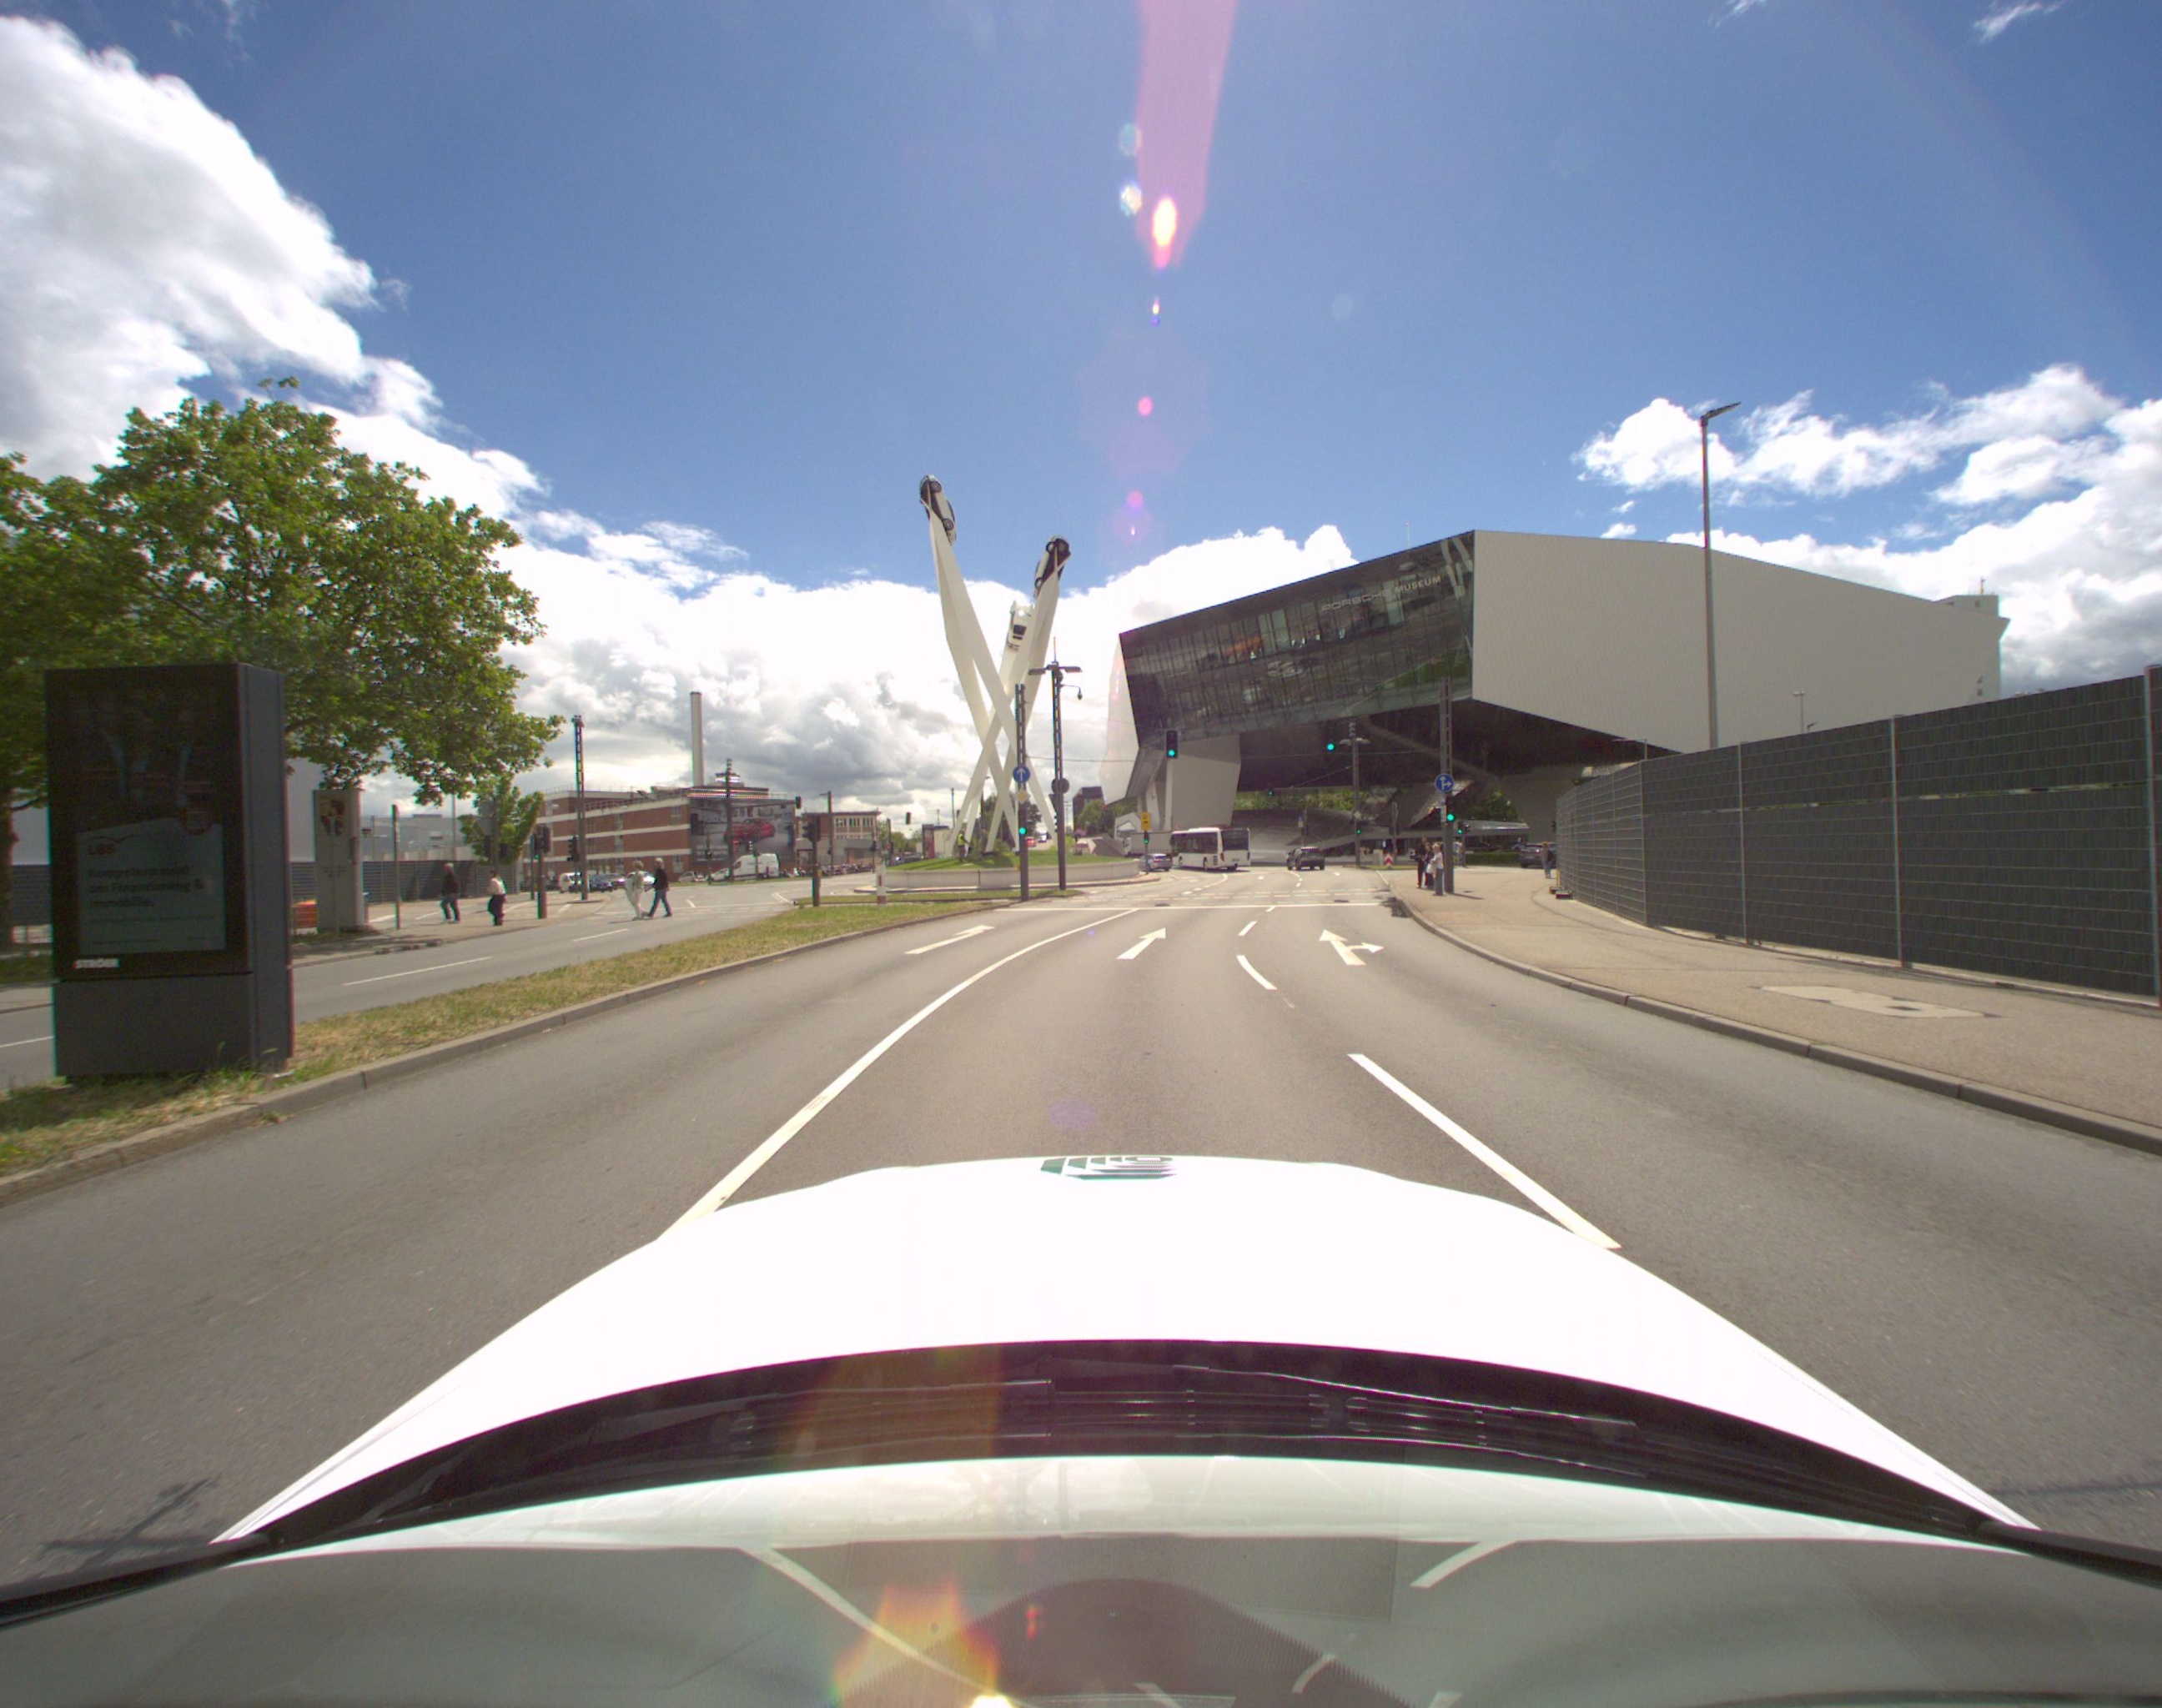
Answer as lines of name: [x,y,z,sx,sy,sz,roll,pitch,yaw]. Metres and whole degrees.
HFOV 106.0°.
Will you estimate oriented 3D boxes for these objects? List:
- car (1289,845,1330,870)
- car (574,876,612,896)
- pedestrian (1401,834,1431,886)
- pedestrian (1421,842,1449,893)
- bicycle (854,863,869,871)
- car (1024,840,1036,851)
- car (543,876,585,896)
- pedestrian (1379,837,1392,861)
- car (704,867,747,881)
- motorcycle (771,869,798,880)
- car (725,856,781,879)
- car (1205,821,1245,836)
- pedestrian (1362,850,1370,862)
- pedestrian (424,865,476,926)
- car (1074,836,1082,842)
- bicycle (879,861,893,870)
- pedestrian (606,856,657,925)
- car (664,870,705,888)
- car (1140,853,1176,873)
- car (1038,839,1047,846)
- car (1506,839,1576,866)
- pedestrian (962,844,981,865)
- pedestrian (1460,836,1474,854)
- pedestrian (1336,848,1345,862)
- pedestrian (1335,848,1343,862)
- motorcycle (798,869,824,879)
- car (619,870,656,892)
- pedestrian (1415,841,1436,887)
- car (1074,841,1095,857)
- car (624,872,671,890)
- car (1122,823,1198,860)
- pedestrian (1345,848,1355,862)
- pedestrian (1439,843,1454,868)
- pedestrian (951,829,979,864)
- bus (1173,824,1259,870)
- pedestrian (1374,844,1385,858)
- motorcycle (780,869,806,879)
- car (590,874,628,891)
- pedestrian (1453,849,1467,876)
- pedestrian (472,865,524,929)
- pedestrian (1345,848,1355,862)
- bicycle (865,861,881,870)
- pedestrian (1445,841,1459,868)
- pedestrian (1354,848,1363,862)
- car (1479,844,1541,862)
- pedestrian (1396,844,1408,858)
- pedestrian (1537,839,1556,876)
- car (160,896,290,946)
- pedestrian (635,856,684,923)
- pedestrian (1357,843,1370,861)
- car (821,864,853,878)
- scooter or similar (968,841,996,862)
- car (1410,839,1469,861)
car: [15.796,0.241,56.543,1.984,1.636,4.005,-2,0,4]
car: [-39.571,2.578,65.972,1.813,1.556,3.909,0,-1,-44]
pedestrian: [12.148,0.210,29.556,0.660,1.866,0.789,0,-1,-15]
pedestrian: [11.311,0.437,26.026,0.655,1.608,0.825,-1,-1,11]
bicycle: [-24.693,1.444,91.548,0.486,0.866,1.621,-1,2,42]
car: [-9.817,-1.688,157.886,1.988,1.983,4.835,-2,1,-1]
car: [-44.136,2.691,69.487,4.237,1.624,2.012,-1,-1,43]
pedestrian: [26.279,-0.430,70.260,0.946,1.984,1.387,-1,1,16]
car: [-38.039,2.125,87.117,3.954,1.501,2.010,-1,-1,20]
motorcycle: [-33.749,2.345,92.731,2.880,1.196,0.924,-1,-1,18]
car: [-31.912,1.311,79.320,4.611,2.171,2.006,-1,-1,10]
car: [17.725,-3.211,100.286,2.012,1.394,4.459,-6,10,-43]
pedestrian: [31.895,0.192,91.122,0.697,1.318,0.637,1,-1,-42]
pedestrian: [-19.014,1.235,24.559,0.864,1.774,1.030,0,-1,-14]
car: [-0.813,-3.867,211.072,1.986,1.635,4.658,0,1,1]
bicycle: [-21.643,1.319,90.430,0.486,0.866,1.621,-1,4,28]
pedestrian: [-13.627,1.093,24.725,0.944,2.055,0.955,-1,-1,18]
car: [-35.124,2.192,72.079,3.949,1.577,2.012,-1,-1,43]
car: [6.302,0.754,66.951,1.993,1.637,3.987,0,-1,-9]
car: [-8.725,-2.595,186.441,1.749,1.397,4.676,0,3,1]
car: [29.841,-0.098,52.856,4.005,1.702,1.984,0,-1,-24]
pedestrian: [-7.700,0.052,57.221,0.845,1.407,0.970,-8,-4,22]
pedestrian: [38.846,-0.877,81.919,0.828,1.826,0.920,0,-1,-10]
pedestrian: [29.604,0.106,92.963,0.820,1.573,0.929,-1,-1,27]
pedestrian: [29.106,0.088,91.892,0.820,1.573,0.928,-1,-1,22]
motorcycle: [-31.951,2.378,96.316,2.880,1.196,0.924,-1,-1,18]
car: [-37.978,2.311,69.750,1.922,1.797,3.730,0,-1,-43]
pedestrian: [12.217,0.352,28.867,0.462,1.616,0.663,0,-1,2]
car: [0.410,-0.576,101.326,1.993,1.904,3.988,0,-1,-9]
car: [-47.737,2.937,89.638,4.462,1.858,2.222,-1,-1,24]
car: [7.732,-1.154,81.786,3.352,3.504,9.263,0,-1,-25]
pedestrian: [30.189,0.082,91.417,0.912,1.573,0.835,-1,-1,26]
pedestrian: [24.084,0.127,53.673,0.674,1.638,0.614,0,-1,-27]
pedestrian: [-6.508,-0.436,45.514,1.285,1.816,0.981,-6,4,-17]
bus: [10.674,-0.424,66.295,3.072,3.362,12.180,0,-1,-10]
pedestrian: [33.841,-0.321,92.323,0.828,1.573,0.920,0,-1,-10]
motorcycle: [-33.157,2.308,93.796,2.880,1.196,0.924,-1,-1,18]
car: [-43.865,2.616,75.665,4.171,1.556,1.836,-1,-1,42]
pedestrian: [25.578,0.584,54.925,0.664,1.847,0.624,-1,-1,44]
pedestrian: [-16.717,1.217,23.387,0.864,1.774,1.030,0,-1,-14]
pedestrian: [30.526,0.094,92.573,0.911,1.573,0.835,-1,-1,30]
bicycle: [-22.689,1.289,88.887,0.486,0.866,1.621,-1,2,40]
pedestrian: [24.679,0.035,54.128,0.623,1.795,0.665,1,-1,-44]
pedestrian: [31.289,0.079,91.846,0.697,1.573,0.786,0,-1,-39]
car: [34.687,-0.120,65.845,4.136,1.383,1.836,-1,1,-4]
pedestrian: [35.631,-0.362,90.382,0.828,1.573,0.920,0,-1,-10]
pedestrian: [20.712,0.163,36.233,0.686,1.586,0.927,-1,-1,32]
car: [-27.162,2.102,25.838,3.949,1.359,1.731,-3,0,27]
pedestrian: [-13.305,1.097,25.720,0.944,2.055,0.955,-1,-1,18]
pedestrian: [23.577,-0.165,68.010,0.585,1.496,0.764,0,-1,-33]
car: [-30.631,2.119,102.122,3.445,1.804,1.711,-1,-1,16]
scooter or similar: [-5.598,-0.148,45.870,1.405,1.025,0.546,-7,7,-19]
car: [29.228,-0.287,66.506,3.967,1.550,1.841,-3,-1,5]
